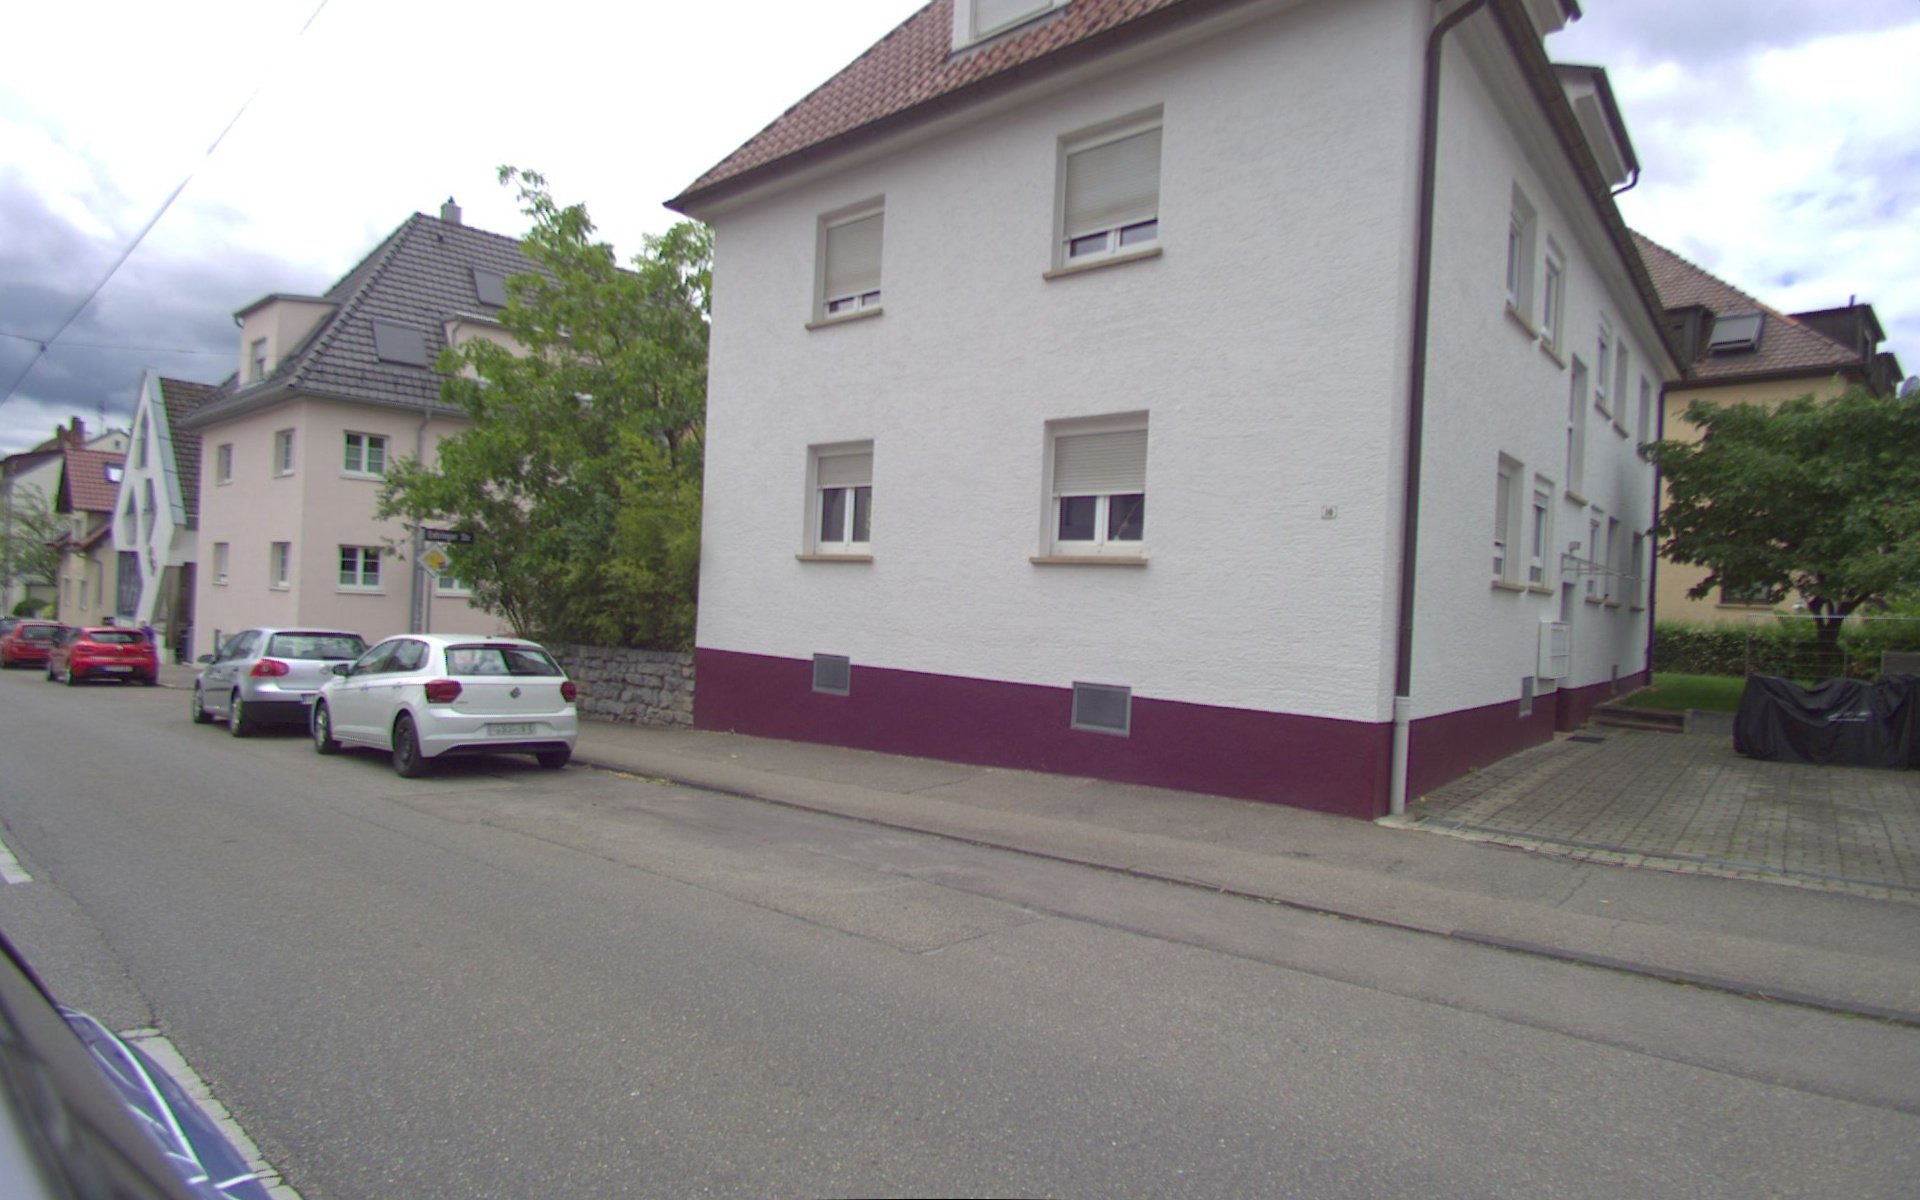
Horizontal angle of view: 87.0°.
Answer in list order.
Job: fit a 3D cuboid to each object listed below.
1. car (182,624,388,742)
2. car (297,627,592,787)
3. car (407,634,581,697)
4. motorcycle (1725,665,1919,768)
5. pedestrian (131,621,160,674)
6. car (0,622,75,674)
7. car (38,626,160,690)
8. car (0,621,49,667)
[{"bbox_3d":[-9.812,1.114,14.607,3.775,1.458,1.631,-1,-3,44],"label":"car"},{"bbox_3d":[-5.894,1.082,11.403,3.810,1.458,1.632,-1,-3,41],"label":"car"},{"bbox_3d":[-11.865,1.621,25.906,3.680,1.421,1.708,1,-1,-45],"label":"car"},{"bbox_3d":[10.363,1.331,11.756,2.219,1.056,0.767,-1,0,25],"label":"motorcycle"},{"bbox_3d":[-24.448,1.422,30.379,0.600,1.544,0.576,-1,0,41],"label":"pedestrian"},{"bbox_3d":[-30.051,1.525,32.636,3.734,1.544,1.684,-1,-5,41],"label":"car"},{"bbox_3d":[-21.432,1.412,25.156,3.734,1.421,1.684,-1,-5,41],"label":"car"},{"bbox_3d":[-33.783,1.523,35.886,3.734,1.544,1.684,-1,-5,41],"label":"car"}]
